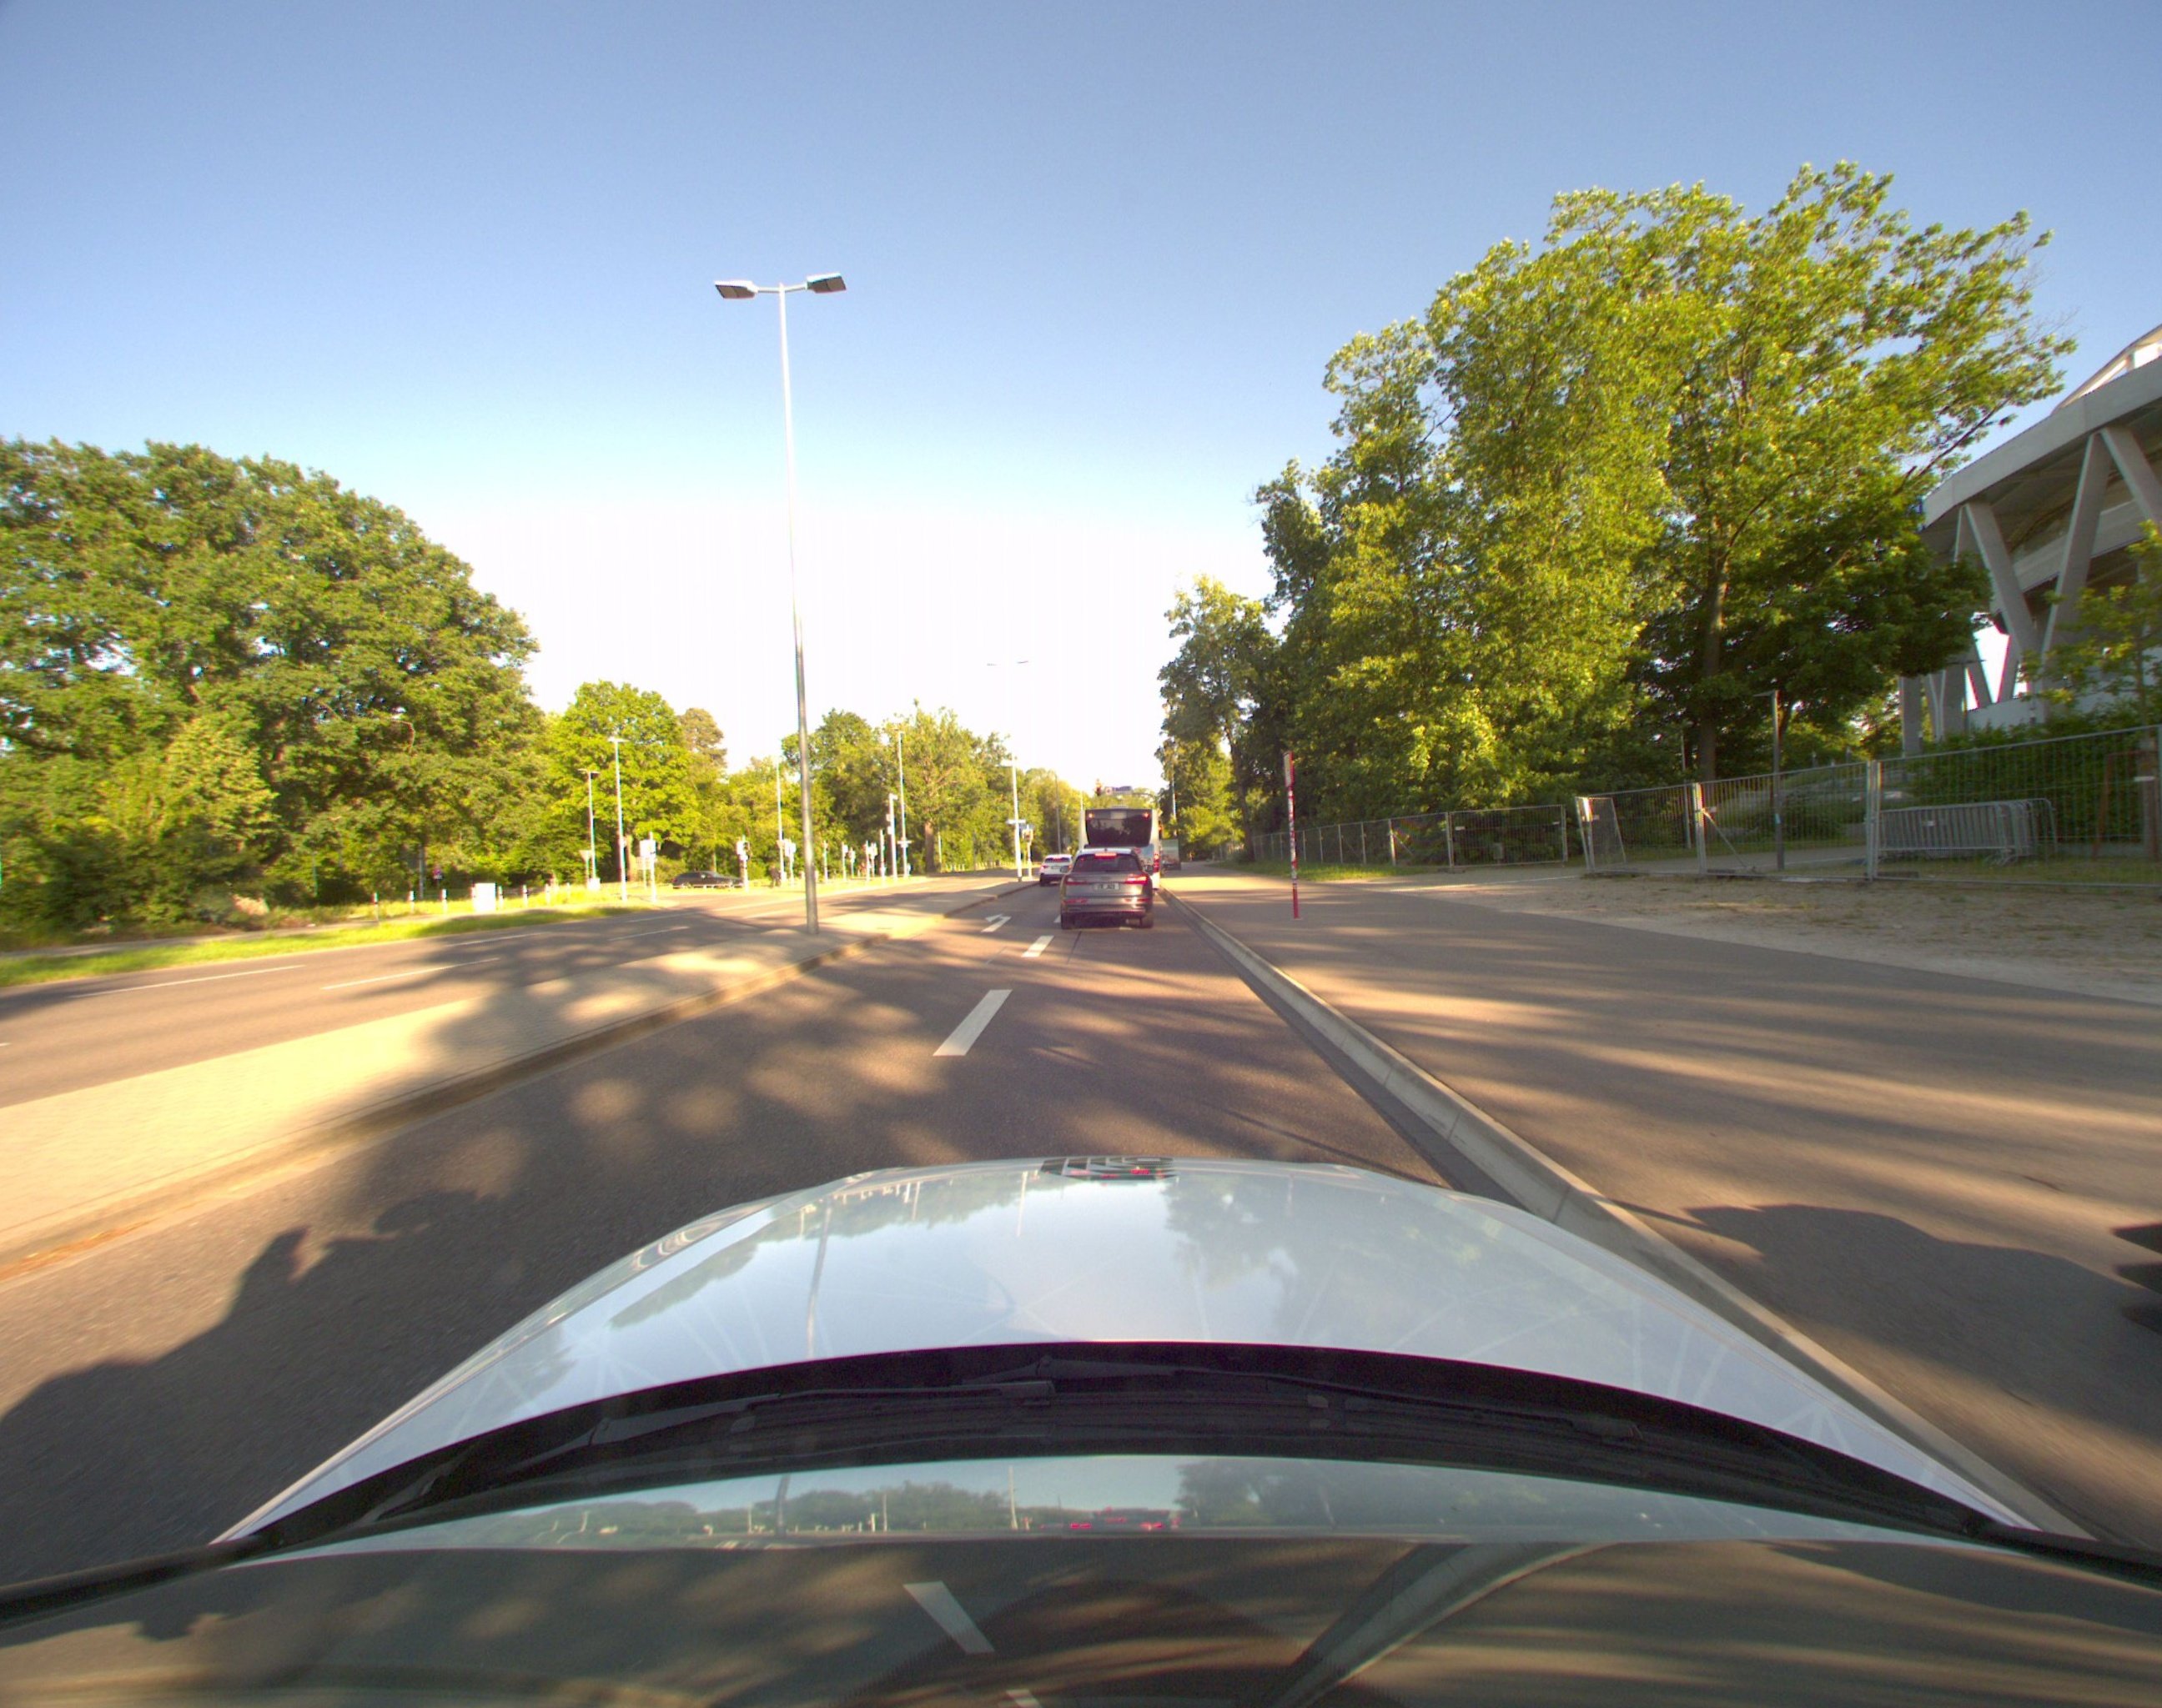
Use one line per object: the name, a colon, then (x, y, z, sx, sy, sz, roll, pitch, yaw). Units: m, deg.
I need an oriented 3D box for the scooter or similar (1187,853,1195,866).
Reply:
scooter or similar: (12.768, 0.664, 94.240, 0.506, 1.444, 2.020, -3, 0, -2)

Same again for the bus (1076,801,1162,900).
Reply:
bus: (1.381, -0.061, 29.685, 2.584, 2.989, 9.332, -1, -1, 3)

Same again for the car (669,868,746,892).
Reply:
car: (-27.798, 1.924, 60.712, 4.757, 1.498, 2.000, -3, 0, 0)

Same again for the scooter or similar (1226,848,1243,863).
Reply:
scooter or similar: (17.472, 0.176, 92.831, 0.543, 1.567, 2.000, -3, 0, -37)

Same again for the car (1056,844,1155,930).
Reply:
car: (0.564, 0.635, 17.675, 1.891, 1.632, 4.003, -1, 0, 3)

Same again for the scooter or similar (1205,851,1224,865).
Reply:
scooter or similar: (15.065, 0.409, 91.634, 2.024, 1.444, 0.601, -3, 0, -22)

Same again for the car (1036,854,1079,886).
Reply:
car: (-1.143, 0.772, 41.534, 1.829, 1.518, 4.003, -2, 0, 3)

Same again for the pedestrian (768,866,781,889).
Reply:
pedestrian: (-21.452, 1.670, 57.041, 0.652, 1.560, 0.533, -3, 0, -40)
